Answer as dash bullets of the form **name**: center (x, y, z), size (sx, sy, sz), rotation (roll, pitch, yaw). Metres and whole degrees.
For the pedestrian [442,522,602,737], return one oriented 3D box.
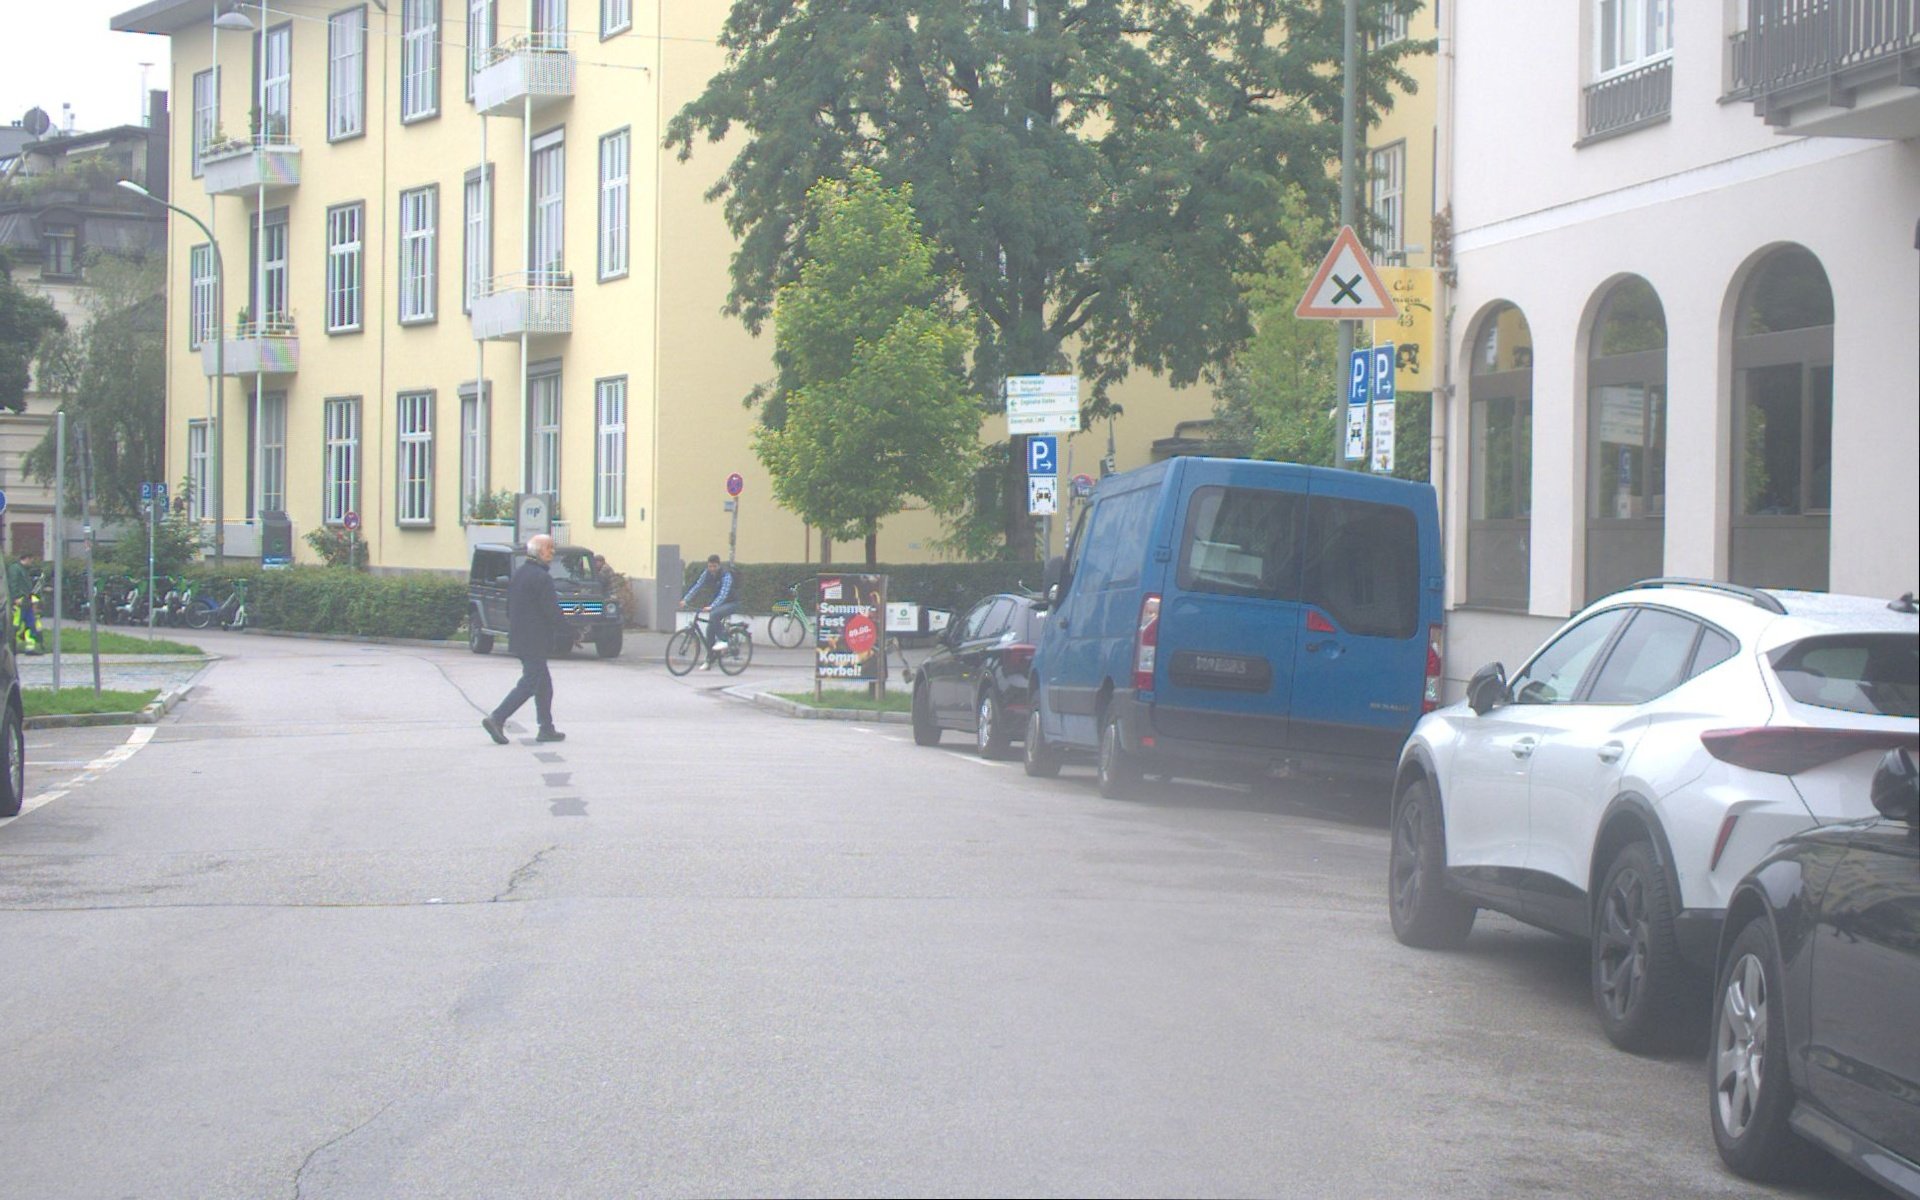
- **pedestrian**: center (-3.733, 0.262, 29.311), size (0.934, 1.795, 0.954), rotation (-1, -2, 42)

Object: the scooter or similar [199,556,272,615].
- **scooter or similar**: center (-16.247, -0.334, 77.122), size (0.732, 1.301, 2.155), rotation (1, 1, 14)

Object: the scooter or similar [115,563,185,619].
- **scooter or similar**: center (-19.067, -0.214, 80.969), size (0.733, 1.301, 1.728), rotation (1, 1, 22)

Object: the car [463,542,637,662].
- **car**: center (-7.279, 0.001, 60.676), size (1.762, 1.868, 4.380), rotation (5, 0, -23)

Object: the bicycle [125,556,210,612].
- **bicycle**: center (-18.586, -0.382, 80.660), size (0.733, 1.301, 2.153), rotation (1, 1, 25)

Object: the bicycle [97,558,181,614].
- **bicycle**: center (-19.459, -0.345, 81.480), size (0.733, 1.301, 2.153), rotation (1, 1, 25)

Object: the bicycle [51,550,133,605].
- **bicycle**: center (-21.114, -0.542, 83.675), size (0.733, 1.301, 2.153), rotation (1, 1, 25)

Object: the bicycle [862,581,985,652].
- **bicycle**: center (-0.646, 0.285, 60.554), size (2.068, 1.197, 0.595), rotation (1, 1, 13)

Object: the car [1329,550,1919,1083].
- **car**: center (2.797, 0.649, 12.591), size (1.785, 1.528, 4.649), rotation (4, 1, -7)

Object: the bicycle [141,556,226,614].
- **bicycle**: center (-18.035, -0.352, 79.886), size (0.733, 1.301, 2.153), rotation (1, 1, 25)

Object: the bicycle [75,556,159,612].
- **bicycle**: center (-20.114, -0.392, 82.073), size (0.733, 1.301, 2.153), rotation (1, 1, 25)

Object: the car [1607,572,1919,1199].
- **car**: center (2.903, 0.791, 7.266), size (1.879, 1.517, 5.164), rotation (4, 1, -1)

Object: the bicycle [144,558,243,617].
- **bicycle**: center (-17.350, -0.282, 77.862), size (0.734, 1.301, 2.150), rotation (2, 1, 43)

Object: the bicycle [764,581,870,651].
- **bicycle**: center (-2.568, 0.276, 61.709), size (1.926, 1.197, 0.594), rotation (2, 1, 36)

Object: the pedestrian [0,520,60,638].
- **pedestrian**: center (-16.132, -0.372, 59.475), size (0.931, 2.007, 0.957), rotation (1, 1, -6)

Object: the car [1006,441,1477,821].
- **car**: center (1.818, 0.183, 24.260), size (2.078, 2.226, 5.246), rotation (5, 0, -7)

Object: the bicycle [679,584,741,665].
- **bicycle**: center (-3.701, 0.351, 50.737), size (0.670, 1.155, 2.004), rotation (1, 0, -11)

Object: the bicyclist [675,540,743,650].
- **bicyclist**: center (-3.719, -0.073, 50.847), size (0.863, 1.602, 0.947), rotation (1, 0, -11)

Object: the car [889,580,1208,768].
- **car**: center (0.695, 0.606, 30.399), size (1.676, 1.384, 4.307), rotation (5, 0, -13)

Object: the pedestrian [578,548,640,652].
- **pedestrian**: center (-6.213, -0.009, 60.902), size (0.874, 1.817, 0.798), rotation (1, 1, -22)

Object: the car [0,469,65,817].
- **car**: center (-6.416, 0.262, 19.026), size (2.072, 1.957, 5.351), rotation (-1, 1, -7)
